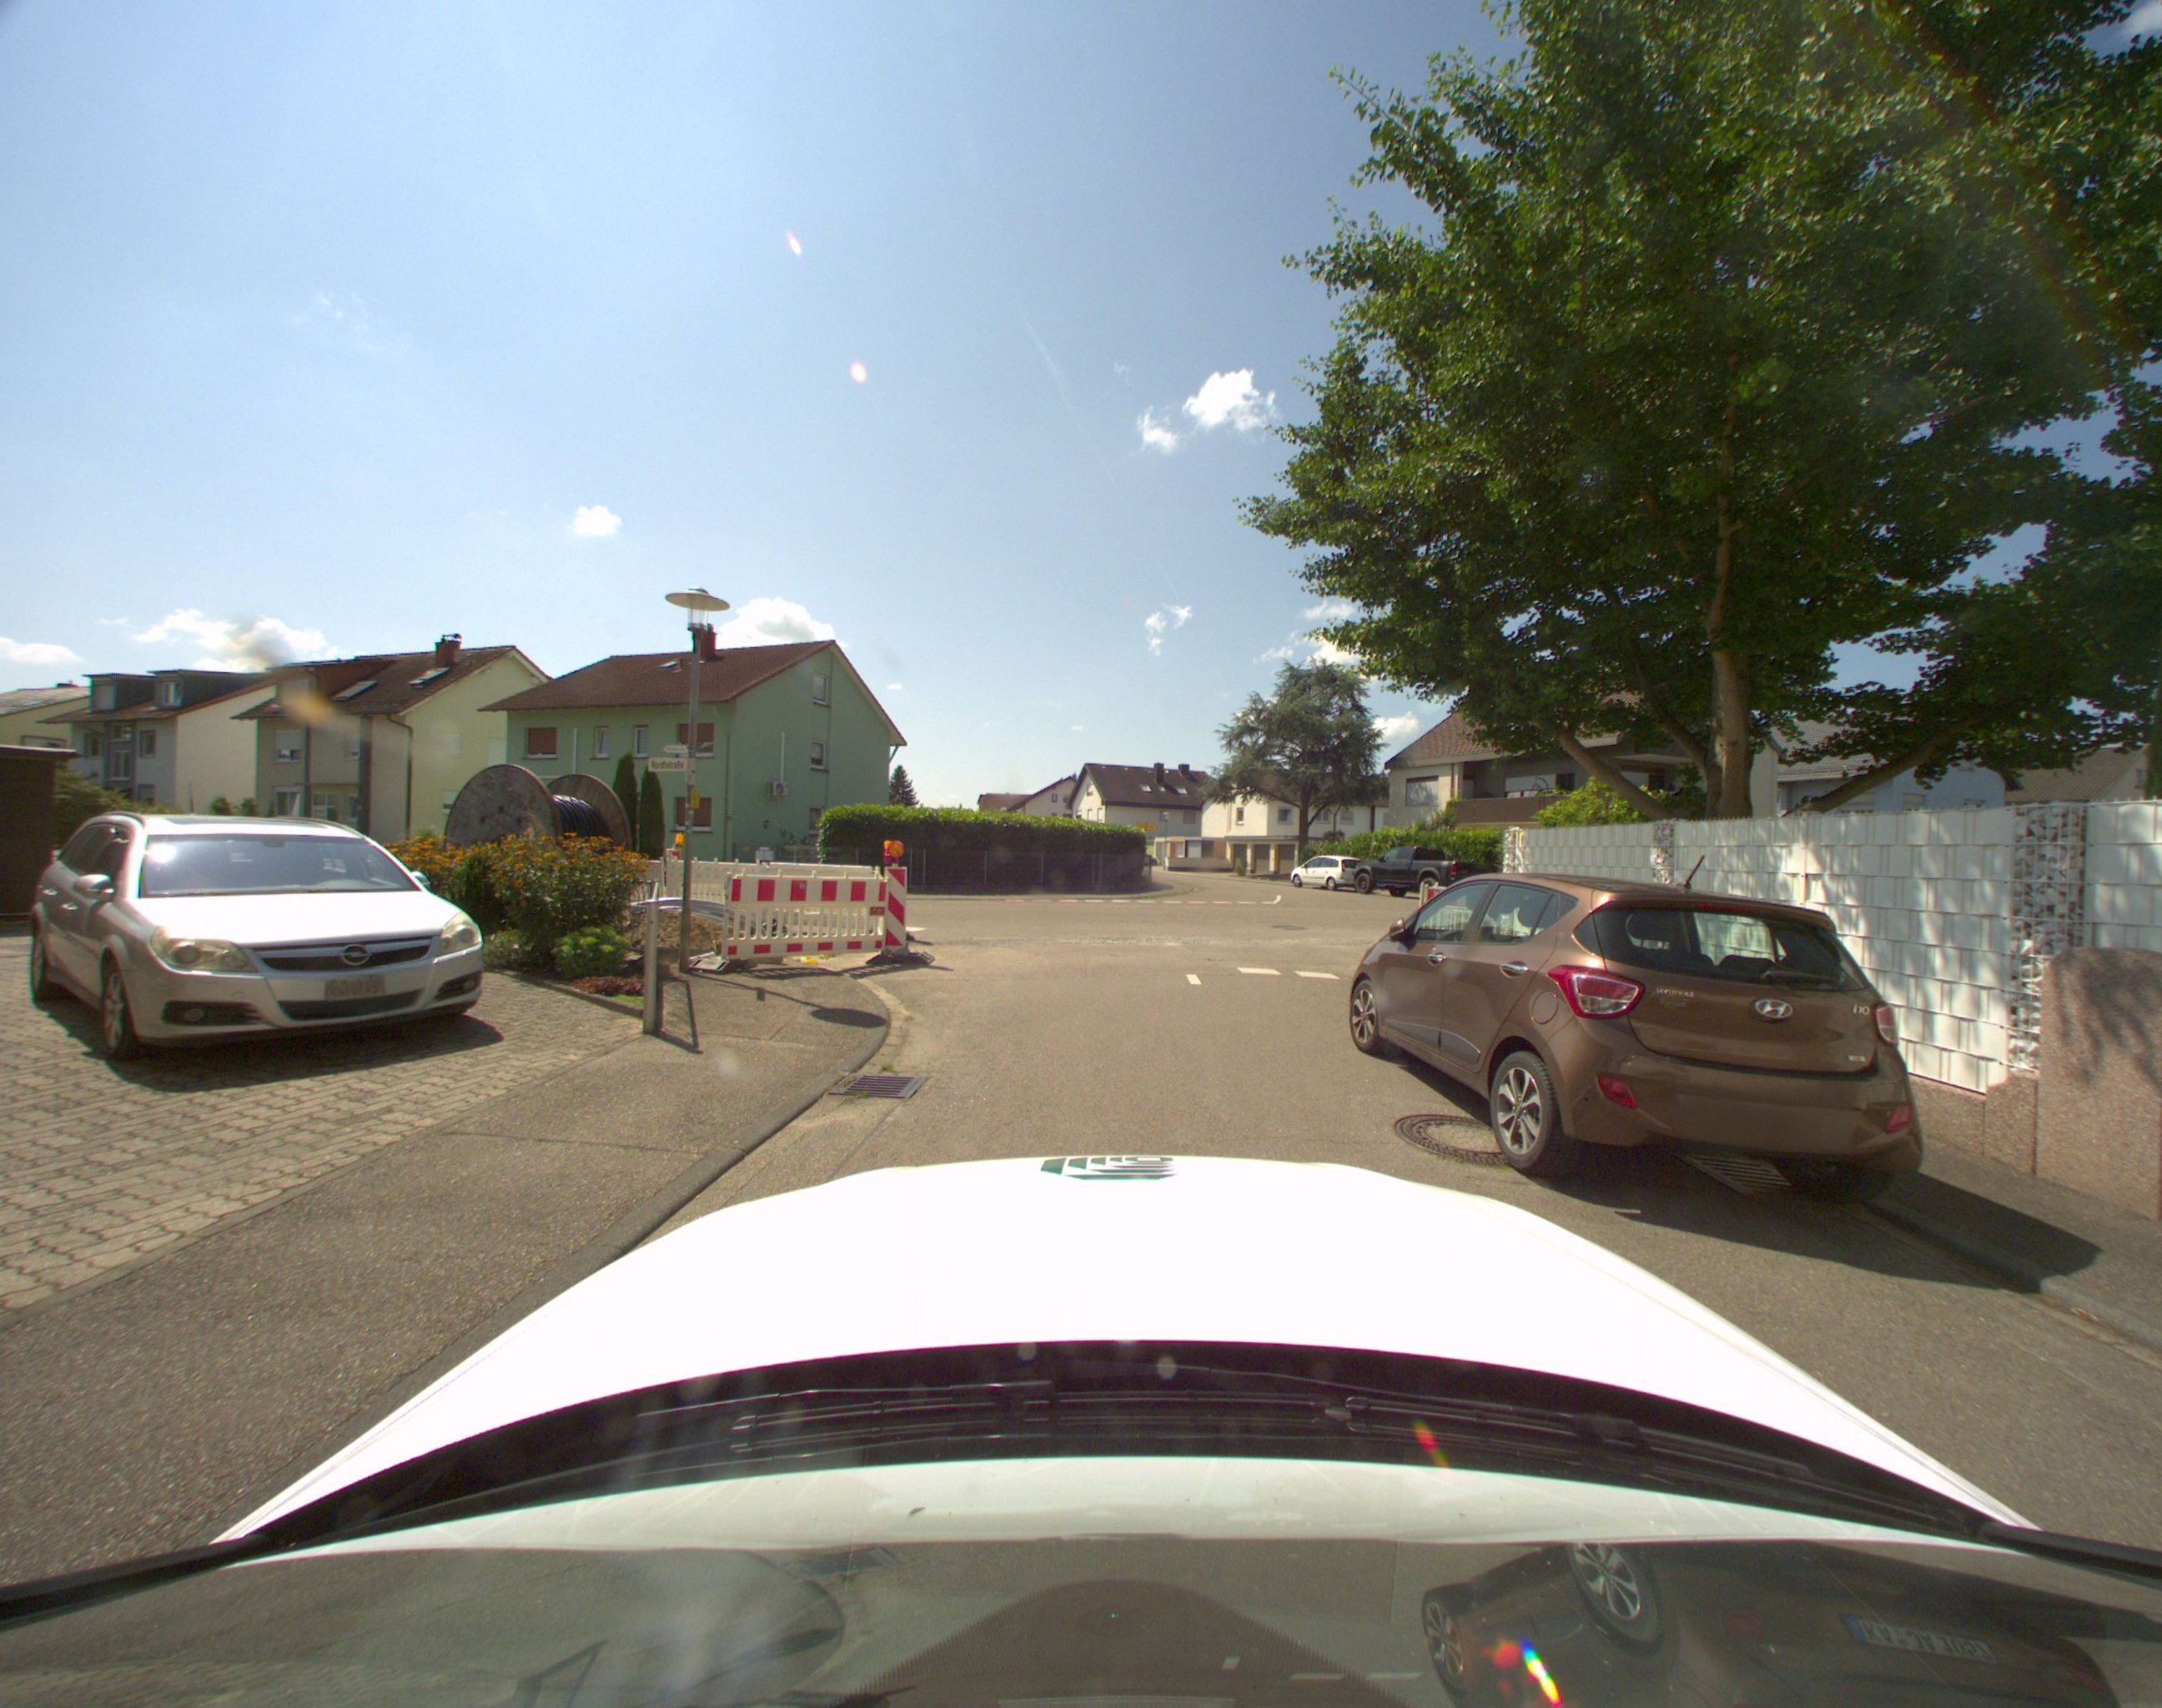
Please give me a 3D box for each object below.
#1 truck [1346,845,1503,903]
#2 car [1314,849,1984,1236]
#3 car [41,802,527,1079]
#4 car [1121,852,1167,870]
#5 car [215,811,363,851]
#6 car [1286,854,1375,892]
[{"bbox_3d":[13.368,0.715,32.216,2.373,2.013,5.670,2,0,-23],"label":"truck"},{"bbox_3d":[3.065,0.819,5.579,1.706,1.532,4.036,5,0,1],"label":"car"},{"bbox_3d":[-6.338,0.406,6.330,4.416,1.485,1.803,2,0,34],"label":"car"},{"bbox_3d":[5.491,0.581,71.521,3.611,1.408,1.772,2,0,-20],"label":"car"},{"bbox_3d":[-32.174,-0.907,33.232,1.753,1.509,3.947,2,1,20],"label":"car"},{"bbox_3d":[11.664,0.852,38.304,1.804,1.563,4.114,2,0,-22],"label":"car"}]
